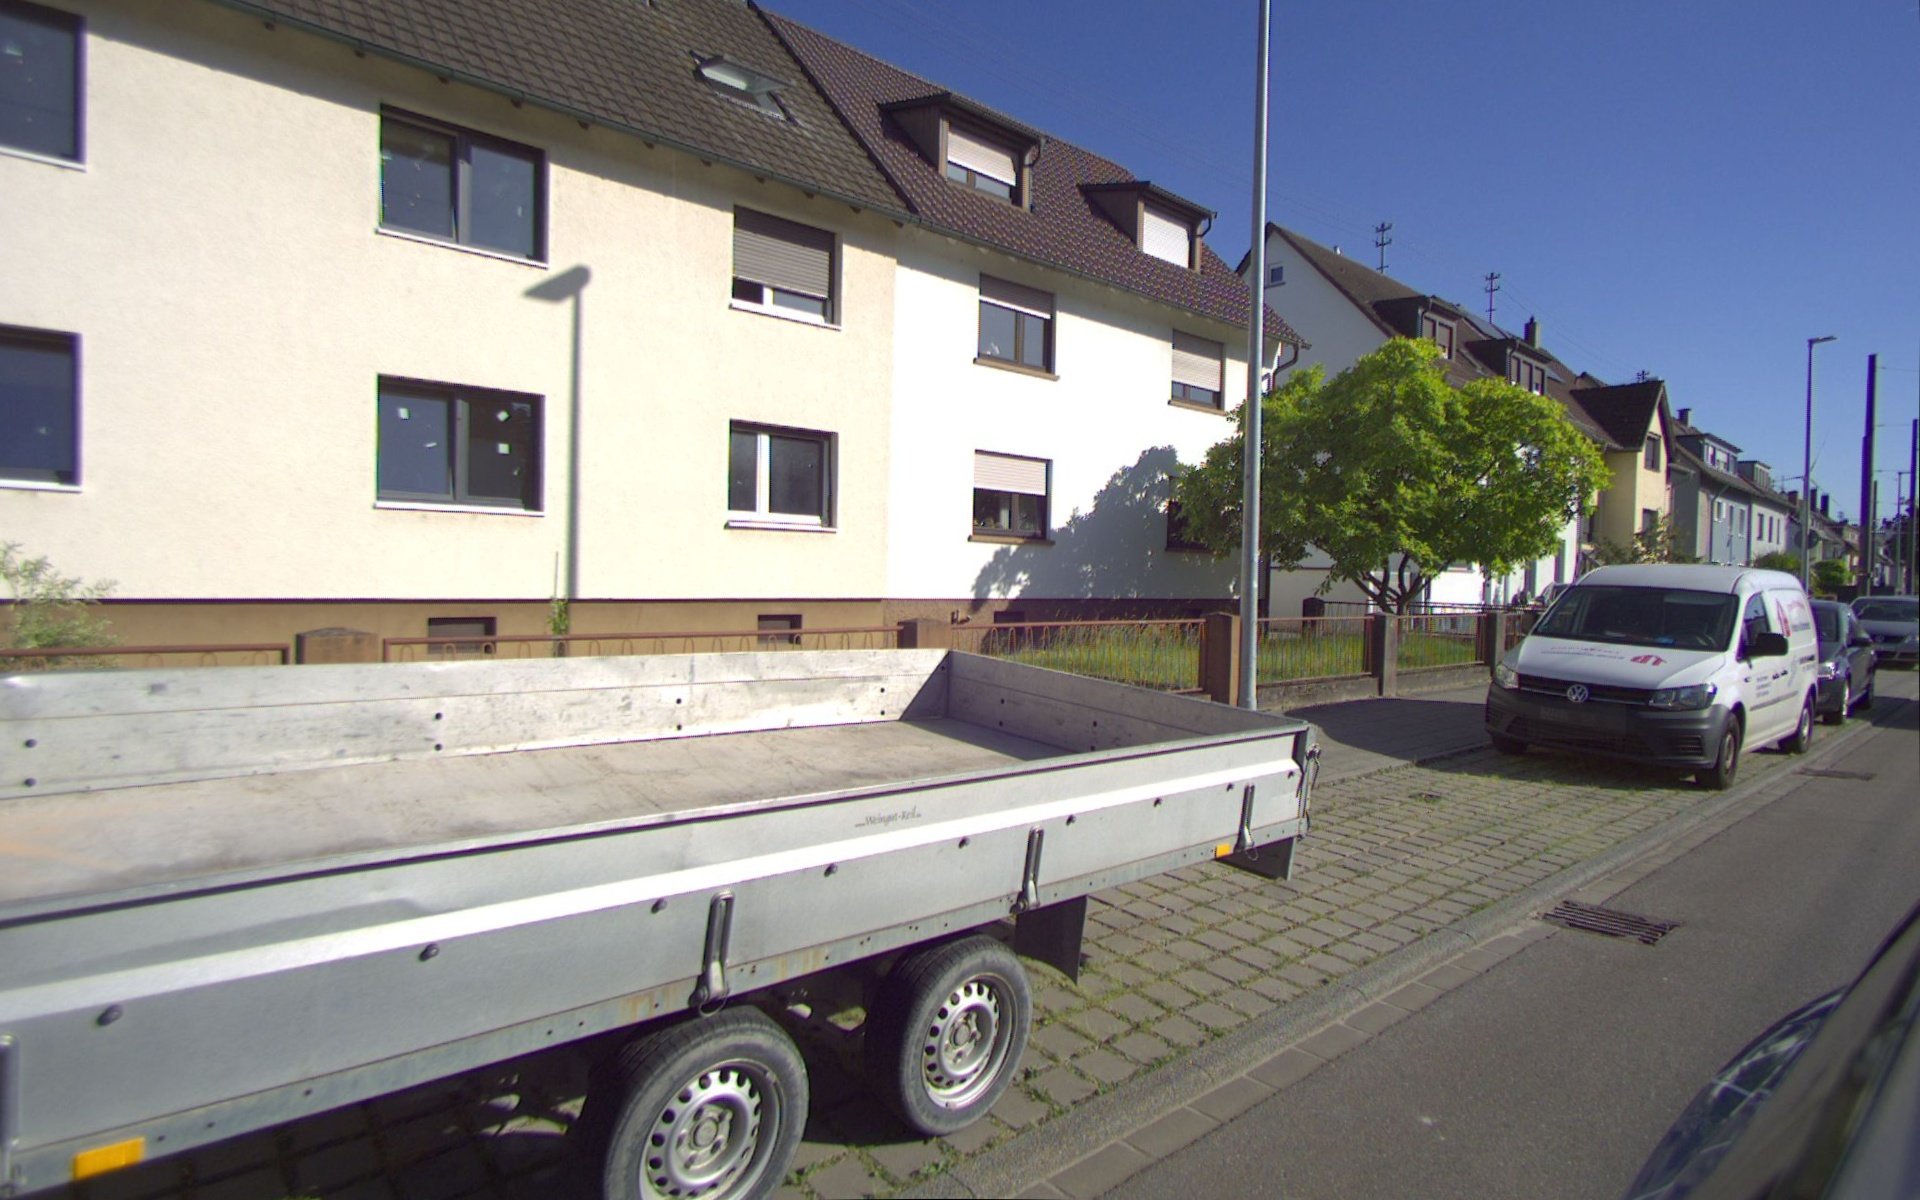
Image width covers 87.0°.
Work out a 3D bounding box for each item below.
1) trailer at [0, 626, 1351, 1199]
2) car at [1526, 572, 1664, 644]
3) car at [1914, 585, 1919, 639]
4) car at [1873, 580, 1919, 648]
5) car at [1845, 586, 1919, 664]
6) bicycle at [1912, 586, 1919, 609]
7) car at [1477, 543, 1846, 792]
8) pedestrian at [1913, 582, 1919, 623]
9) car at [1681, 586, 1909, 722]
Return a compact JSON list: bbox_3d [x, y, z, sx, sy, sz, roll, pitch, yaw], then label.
[{"bbox_3d":[-0.901,0.774,3.125,4.296,1.107,2.208,-1,4,-42],"label":"trailer"},{"bbox_3d":[15.050,0.103,24.262,1.978,1.463,4.845,3,2,23],"label":"car"},{"bbox_3d":[32.006,0.384,32.315,4.397,1.680,1.857,0,2,-42],"label":"car"},{"bbox_3d":[24.231,0.338,25.213,3.768,1.566,1.670,0,4,-40],"label":"car"},{"bbox_3d":[20.192,0.473,21.526,4.375,1.493,1.618,-1,3,-43],"label":"car"},{"bbox_3d":[41.528,-0.108,43.530,1.534,0.991,0.602,-1,4,-40],"label":"bicycle"},{"bbox_3d":[6.690,0.450,9.432,4.574,1.798,1.693,0,2,-41],"label":"car"},{"bbox_3d":[41.214,0.114,43.275,0.702,1.744,0.583,0,2,-41],"label":"pedestrian"},{"bbox_3d":[11.136,0.588,13.404,4.054,1.471,1.674,-1,3,-41],"label":"car"}]
